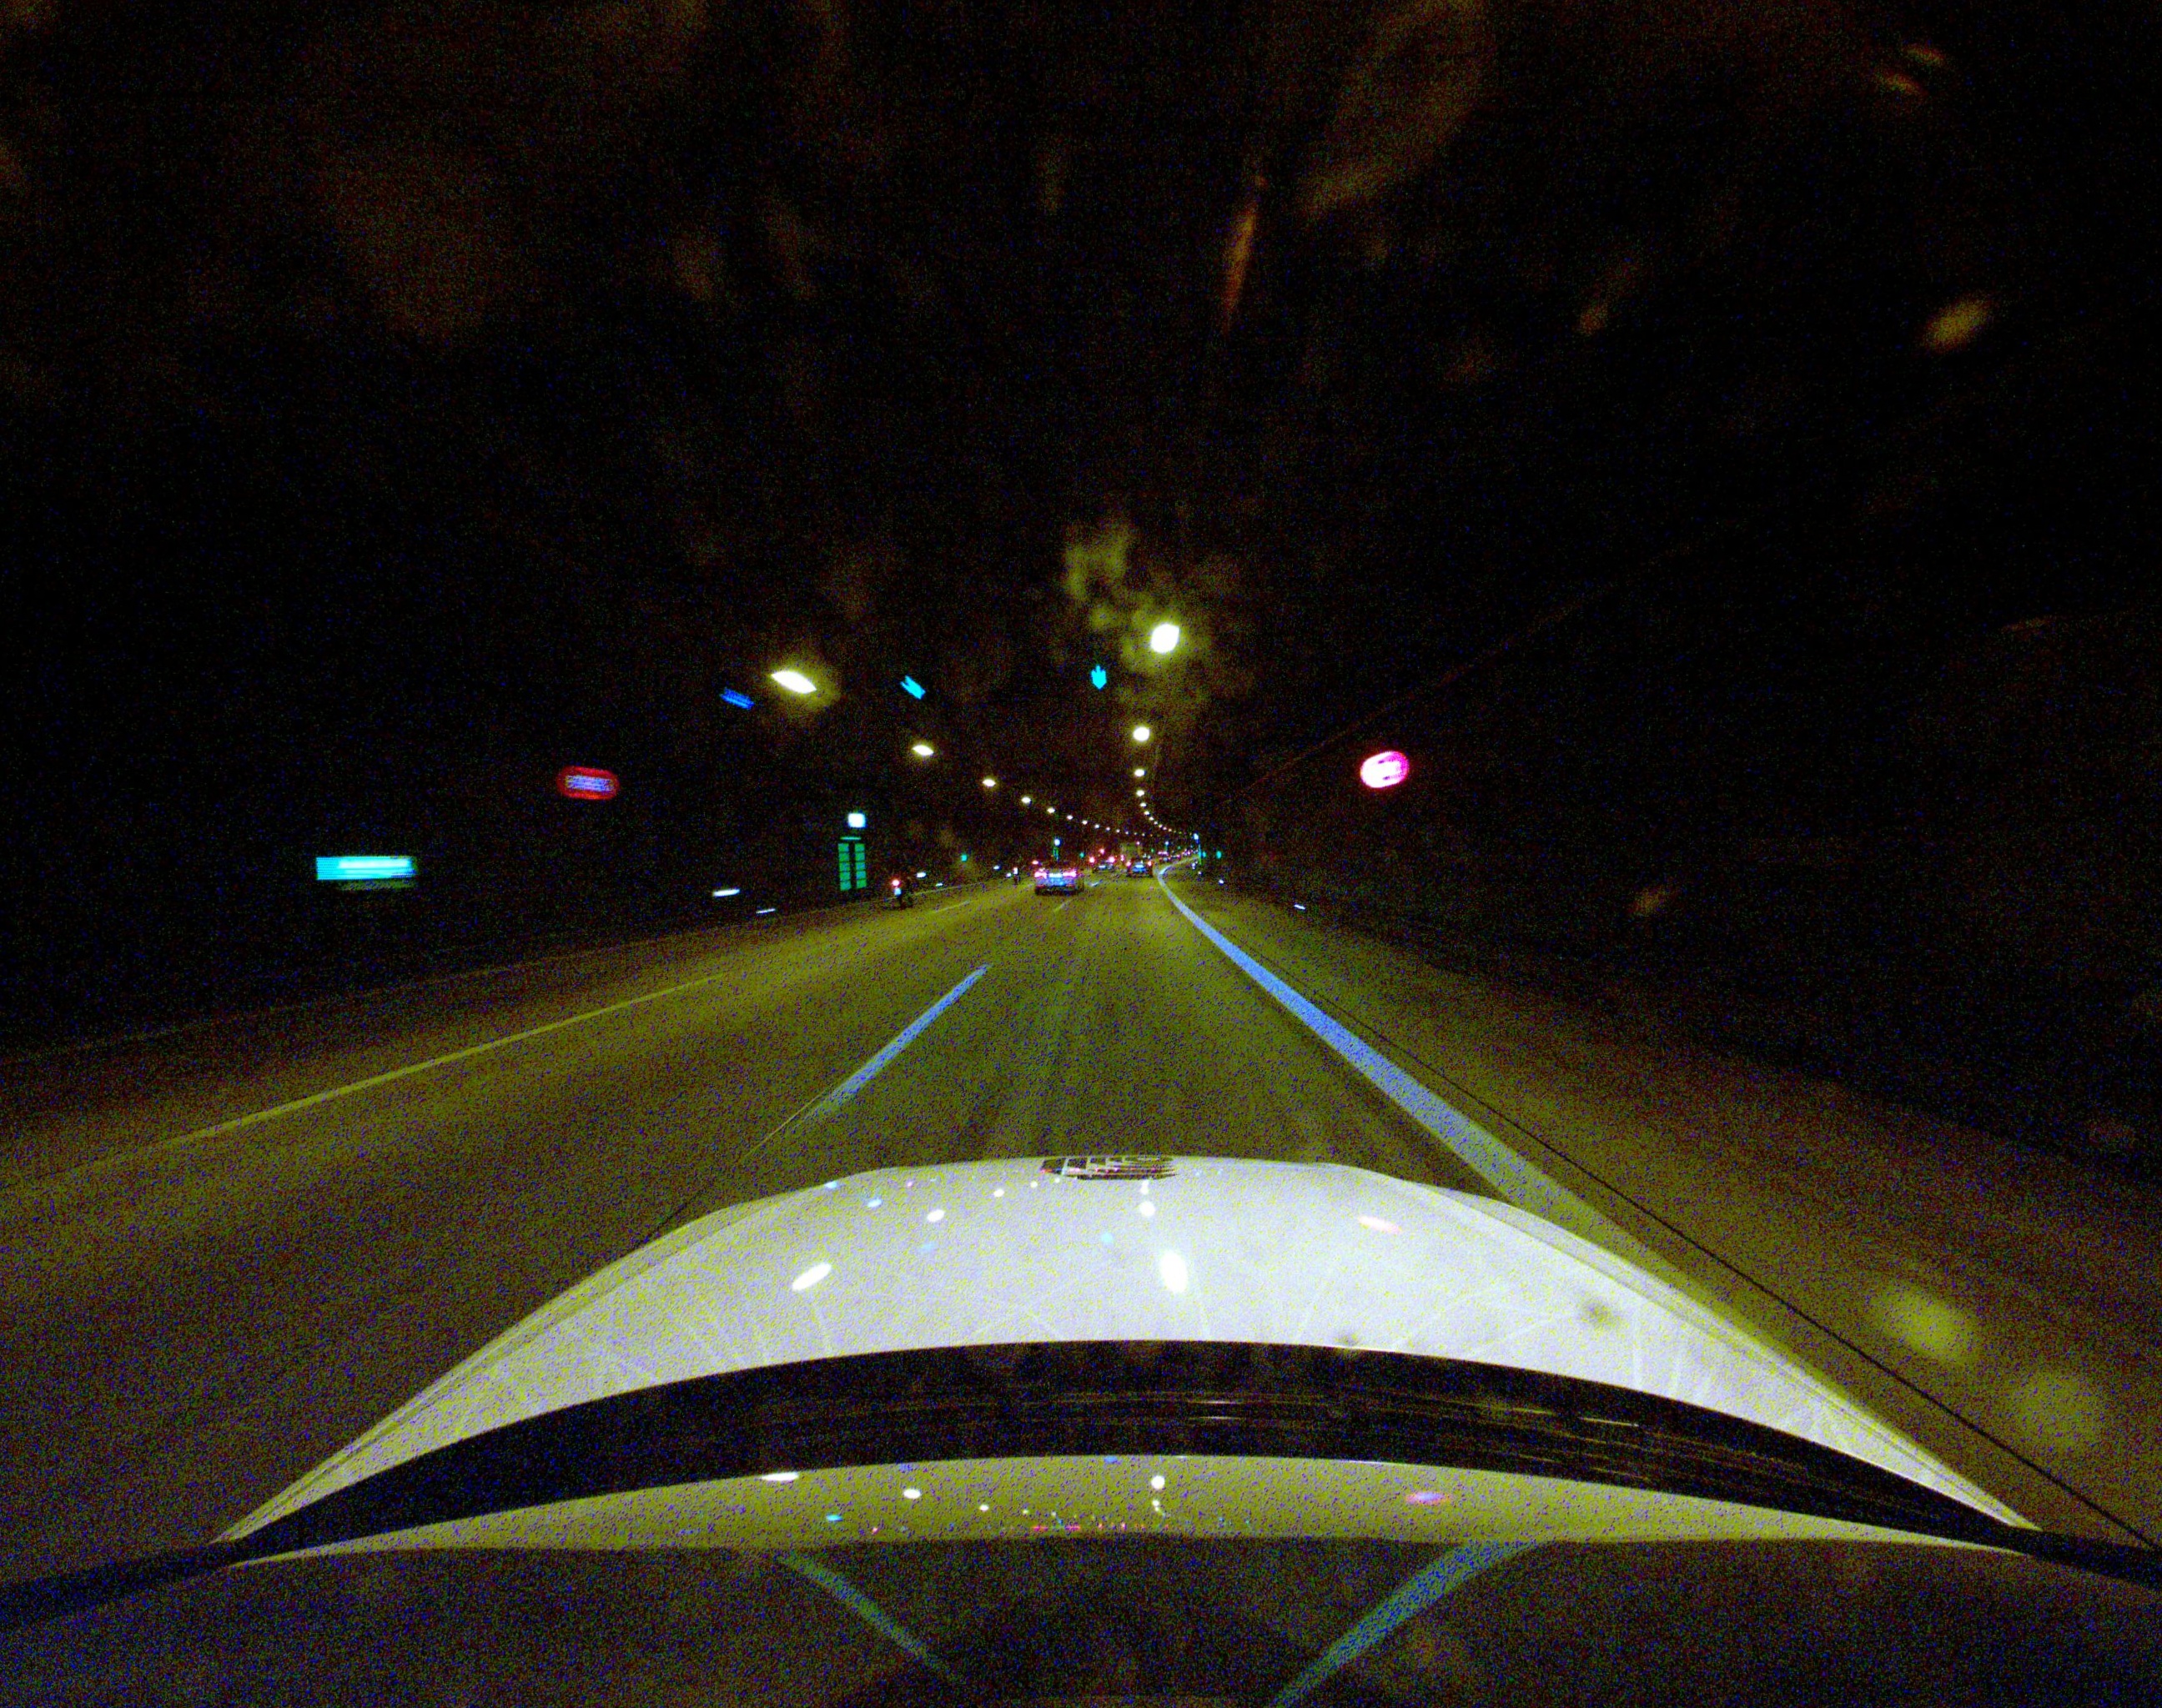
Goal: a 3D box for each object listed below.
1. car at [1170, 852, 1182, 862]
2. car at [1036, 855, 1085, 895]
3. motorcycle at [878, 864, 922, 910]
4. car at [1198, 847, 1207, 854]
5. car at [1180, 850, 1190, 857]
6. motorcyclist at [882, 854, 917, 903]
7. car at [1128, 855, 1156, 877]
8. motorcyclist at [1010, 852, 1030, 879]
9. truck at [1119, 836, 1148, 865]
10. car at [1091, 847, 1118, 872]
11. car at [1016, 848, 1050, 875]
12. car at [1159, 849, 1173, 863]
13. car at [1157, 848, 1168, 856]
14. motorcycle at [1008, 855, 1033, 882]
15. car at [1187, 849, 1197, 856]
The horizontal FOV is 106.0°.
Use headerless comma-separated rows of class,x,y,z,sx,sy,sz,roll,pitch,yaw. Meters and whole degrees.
car,16.752,0.511,143.455,1.939,1.772,4.009,-1,-1,8
car,-0.784,0.827,34.305,1.695,1.419,5.064,-1,1,2
motorcycle,-5.474,0.969,24.804,0.680,1.297,2.400,-1,0,3
car,29.471,-0.903,197.111,1.980,1.632,4.013,-1,-1,12
car,22.801,-0.101,177.910,1.918,1.642,4.012,-1,-1,11
motorcyclist,-5.488,0.736,24.712,0.774,1.452,1.069,-1,-1,2
car,4.281,0.847,57.008,1.732,1.464,3.879,0,-2,8
motorcyclist,-3.379,0.637,45.277,0.802,1.448,1.868,-1,0,5
truck,7.113,-0.408,108.988,3.020,3.673,7.413,-1,0,10
car,2.057,0.448,70.481,1.899,1.944,3.880,-2,2,8
car,-3.635,0.561,62.175,1.984,2.013,4.006,-1,0,6
car,12.040,0.320,115.054,1.847,1.854,4.008,-1,0,7
car,18.311,-0.388,182.830,1.916,1.642,4.017,-1,-1,16
motorcycle,-3.352,0.801,45.320,0.922,1.434,2.968,0,0,5
car,28.443,-0.346,208.411,1.917,1.642,4.015,-1,-1,14
